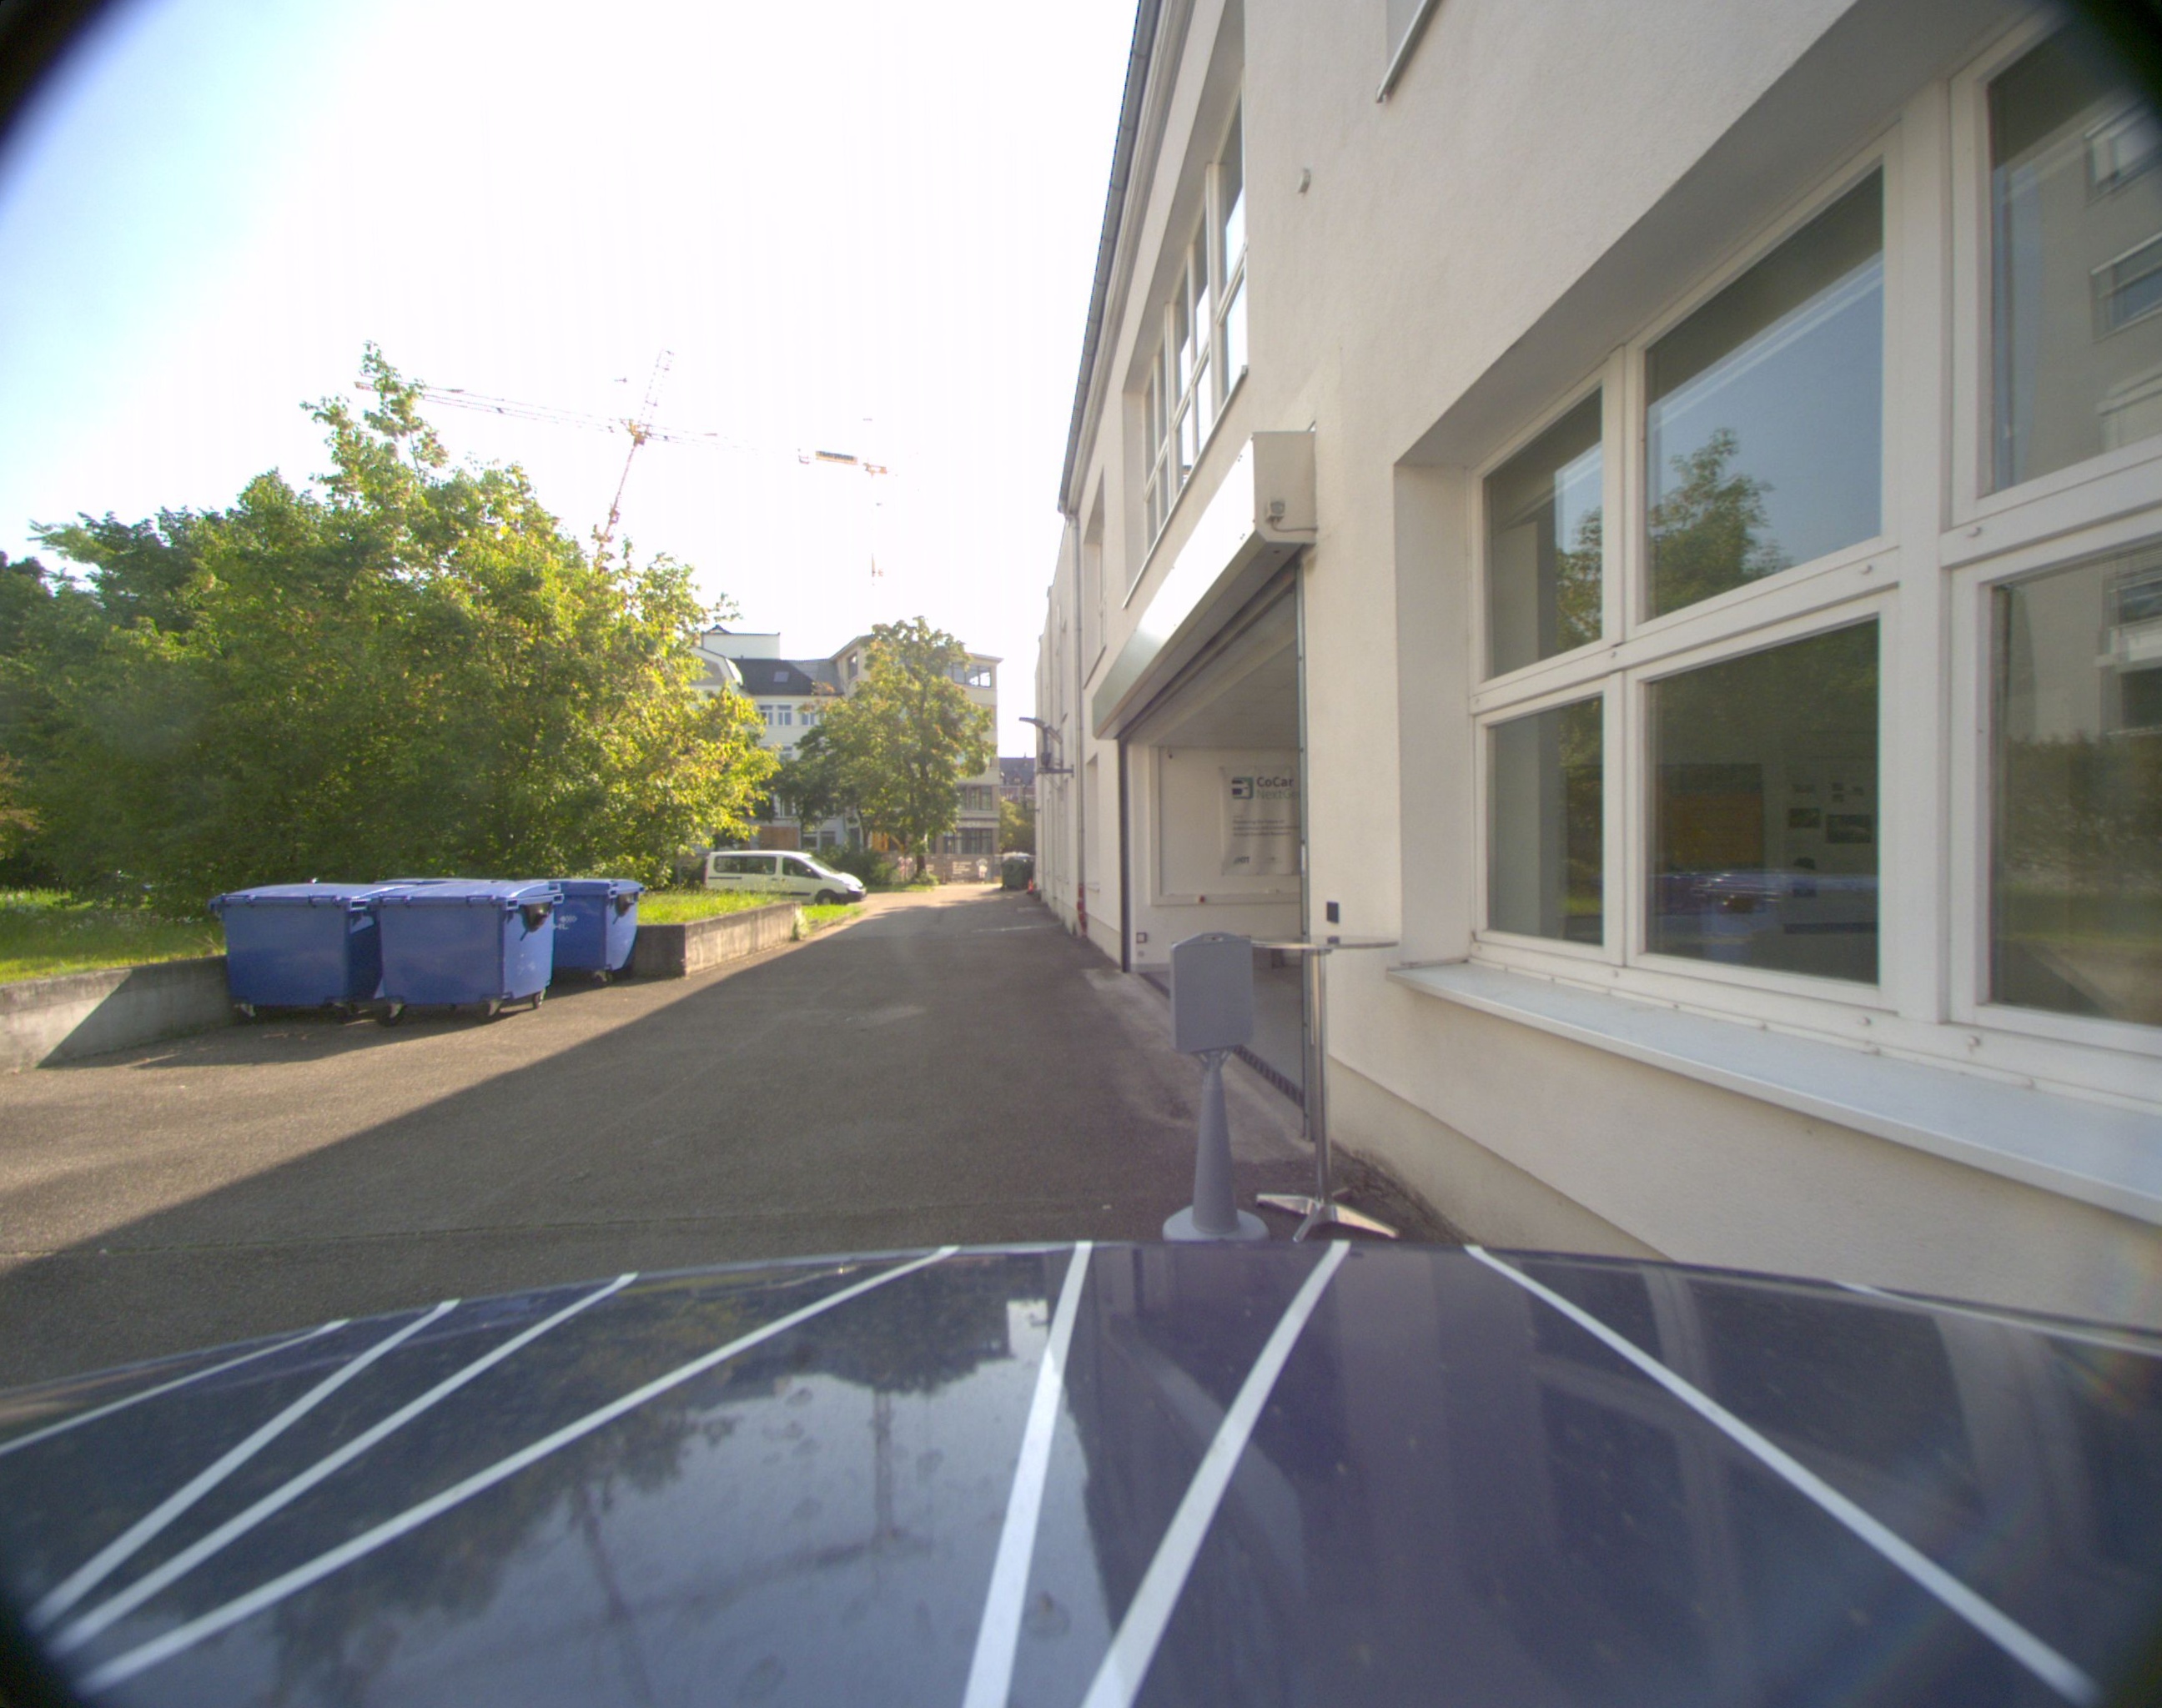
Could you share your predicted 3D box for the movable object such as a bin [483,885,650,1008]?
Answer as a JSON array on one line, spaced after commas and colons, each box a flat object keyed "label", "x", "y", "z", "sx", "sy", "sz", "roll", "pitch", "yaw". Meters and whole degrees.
[{"label": "movable object such as a bin", "x": -6.243, "y": 1.083, "z": 9.326, "sx": 1.200, "sy": 1.320, "sz": 1.274, "roll": -1, "pitch": 0, "yaw": -5}]

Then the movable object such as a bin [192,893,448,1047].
[{"label": "movable object such as a bin", "x": -7.518, "y": 1.095, "z": 7.626, "sx": 1.257, "sy": 1.320, "sz": 1.274, "roll": -1, "pitch": 0, "yaw": -5}]

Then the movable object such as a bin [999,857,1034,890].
[{"label": "movable object such as a bin", "x": -2.928, "y": 0.884, "z": 34.634, "sx": 1.525, "sy": 1.457, "sz": 1.274, "roll": -1, "pitch": 0, "yaw": -5}]

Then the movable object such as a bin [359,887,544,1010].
[{"label": "movable object such as a bin", "x": -7.602, "y": 1.103, "z": 9.281, "sx": 1.200, "sy": 1.320, "sz": 1.274, "roll": -1, "pitch": 0, "yaw": -5}]

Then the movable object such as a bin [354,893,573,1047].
[{"label": "movable object such as a bin", "x": -6.181, "y": 1.109, "z": 7.733, "sx": 1.214, "sy": 1.343, "sz": 1.274, "roll": -1, "pitch": 0, "yaw": -7}]

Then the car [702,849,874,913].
[{"label": "car", "x": -9.332, "y": 0.832, "z": 24.506, "sx": 4.792, "sy": 1.920, "sz": 1.908, "roll": 0, "pitch": 0, "yaw": -4}]
